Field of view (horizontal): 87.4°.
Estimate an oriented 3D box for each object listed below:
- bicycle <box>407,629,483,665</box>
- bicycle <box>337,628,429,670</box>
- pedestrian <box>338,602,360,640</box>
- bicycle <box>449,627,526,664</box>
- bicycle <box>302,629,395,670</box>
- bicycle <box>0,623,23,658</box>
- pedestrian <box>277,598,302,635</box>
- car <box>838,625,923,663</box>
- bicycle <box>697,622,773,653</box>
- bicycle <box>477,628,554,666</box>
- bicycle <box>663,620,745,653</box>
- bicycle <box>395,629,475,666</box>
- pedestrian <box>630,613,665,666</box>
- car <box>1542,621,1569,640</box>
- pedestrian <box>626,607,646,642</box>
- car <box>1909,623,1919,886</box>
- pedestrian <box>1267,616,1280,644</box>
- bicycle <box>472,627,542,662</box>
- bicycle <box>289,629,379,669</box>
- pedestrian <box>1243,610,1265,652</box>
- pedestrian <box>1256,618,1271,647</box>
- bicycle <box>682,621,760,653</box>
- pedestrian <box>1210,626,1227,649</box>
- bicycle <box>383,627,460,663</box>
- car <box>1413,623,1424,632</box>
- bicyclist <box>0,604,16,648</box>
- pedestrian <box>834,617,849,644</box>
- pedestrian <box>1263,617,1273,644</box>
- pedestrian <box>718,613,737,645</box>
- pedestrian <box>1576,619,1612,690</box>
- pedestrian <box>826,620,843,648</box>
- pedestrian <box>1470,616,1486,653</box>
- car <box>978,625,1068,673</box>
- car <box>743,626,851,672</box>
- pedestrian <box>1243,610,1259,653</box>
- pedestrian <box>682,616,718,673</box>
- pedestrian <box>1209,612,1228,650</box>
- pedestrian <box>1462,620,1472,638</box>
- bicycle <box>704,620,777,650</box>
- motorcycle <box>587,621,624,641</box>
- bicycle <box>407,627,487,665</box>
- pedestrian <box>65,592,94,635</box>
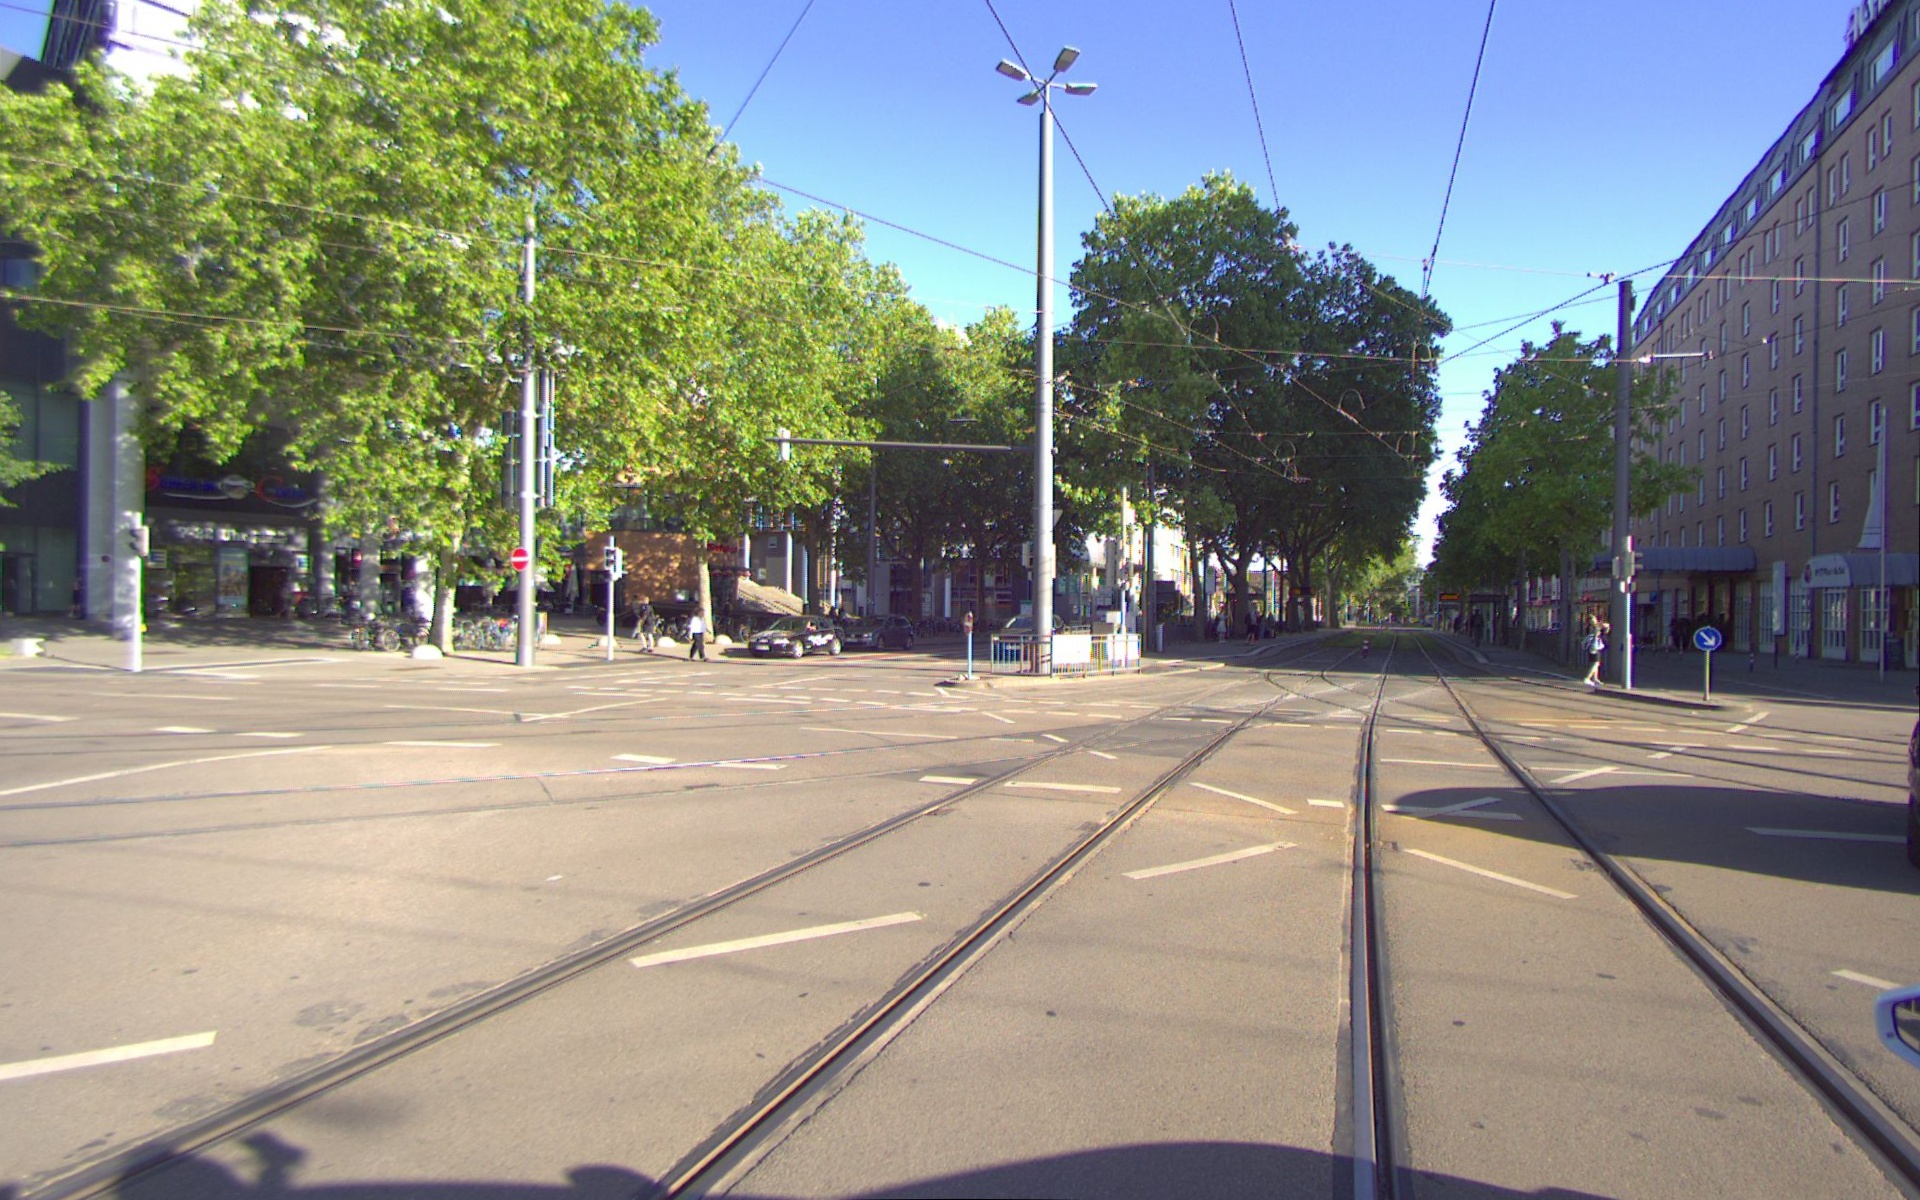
[{"bbox_3d":[-16.950,1.527,33.107,0.587,1.143,2.365,-1,-2,25],"label":"bicycle"},{"bbox_3d":[-16.528,1.388,28.870,0.588,1.143,2.364,-1,-2,26],"label":"bicycle"},{"bbox_3d":[-27.409,0.934,45.069,0.695,1.674,0.696,1,0,-19],"label":"pedestrian"},{"bbox_3d":[-14.932,1.425,31.817,0.587,1.143,2.365,-1,-2,25],"label":"bicycle"},{"bbox_3d":[-17.873,1.421,29.427,0.588,1.143,2.364,-1,-2,26],"label":"bicycle"},{"bbox_3d":[-32.348,1.356,33.714,1.816,1.152,0.693,0,-1,26],"label":"bicycle"},{"bbox_3d":[-30.617,0.762,45.852,0.693,1.674,0.697,1,0,31],"label":"pedestrian"},{"bbox_3d":[-3.131,1.755,40.424,1.640,1.425,3.997,1,-2,25],"label":"car"},{"bbox_3d":[-10.553,1.733,47.159,3.294,1.371,1.036,1,-1,11],"label":"bicycle"},{"bbox_3d":[-13.782,1.440,31.218,0.587,1.143,2.365,-1,-2,25],"label":"bicycle"},{"bbox_3d":[-11.111,1.585,43.655,3.294,1.371,1.036,1,-1,11],"label":"bicycle"},{"bbox_3d":[-16.725,1.493,32.066,0.587,1.143,2.365,-1,-2,25],"label":"bicycle"},{"bbox_3d":[-10.262,1.291,32.968,0.816,1.702,0.715,-1,-2,27],"label":"pedestrian"},{"bbox_3d":[53.540,2.726,90.365,1.645,1.674,3.688,1,-1,24],"label":"car"},{"bbox_3d":[-16.743,1.276,51.966,0.687,1.791,0.703,1,0,37],"label":"pedestrian"},{"bbox_3d":[7.445,1.091,6.502,3.666,1.520,1.656,9,-7,-42],"label":"car"},{"bbox_3d":[18.513,1.777,59.329,0.556,1.594,0.637,1,1,36],"label":"pedestrian"},{"bbox_3d":[-15.337,1.482,34.084,0.587,1.143,2.365,-1,-2,25],"label":"bicycle"},{"bbox_3d":[-18.997,1.463,30.548,0.588,1.143,2.364,-1,-2,26],"label":"bicycle"},{"bbox_3d":[13.169,1.399,44.956,0.737,1.853,0.587,1,0,-35],"label":"pedestrian"},{"bbox_3d":[17.172,1.814,56.786,0.662,1.594,0.483,0,1,-23],"label":"pedestrian"},{"bbox_3d":[-10.848,1.670,45.667,3.294,1.371,1.036,1,-1,11],"label":"bicycle"},{"bbox_3d":[13.295,1.919,51.638,0.583,1.179,0.741,0,0,39],"label":"pedestrian"},{"bbox_3d":[-17.909,1.485,33.486,0.587,1.143,2.365,-1,-2,25],"label":"bicycle"},{"bbox_3d":[80.656,4.774,176.761,1.587,1.522,3.689,1,-1,23],"label":"car"},{"bbox_3d":[-32.335,0.870,33.712,0.740,1.480,0.693,0,-1,26],"label":"bicyclist"},{"bbox_3d":[-7.564,1.962,64.154,0.685,1.674,0.705,-1,0,24],"label":"pedestrian"},{"bbox_3d":[18.038,1.773,58.863,0.493,1.594,0.493,1,1,28],"label":"pedestrian"},{"bbox_3d":[-12.571,1.557,54.341,0.685,1.674,0.705,1,0,24],"label":"pedestrian"},{"bbox_3d":[15.572,1.321,24.685,0.704,1.702,0.829,-2,-2,32],"label":"pedestrian"},{"bbox_3d":[-7.464,2.020,59.650,0.685,1.674,0.705,1,0,24],"label":"pedestrian"},{"bbox_3d":[24.465,1.633,47.419,0.594,1.702,0.486,-1,-2,24],"label":"pedestrian"},{"bbox_3d":[2.113,1.557,32.769,1.639,1.433,3.998,1,-2,24],"label":"car"},{"bbox_3d":[-5.472,1.644,34.287,1.640,1.425,3.997,1,-2,25],"label":"car"},{"bbox_3d":[12.793,1.377,44.188,0.623,1.853,0.745,1,0,19],"label":"pedestrian"},{"bbox_3d":[-7.971,1.365,30.797,0.817,1.702,0.714,-2,-2,33],"label":"pedestrian"},{"bbox_3d":[12.373,1.484,48.093,0.583,1.824,0.741,1,0,39],"label":"pedestrian"},{"bbox_3d":[41.881,2.373,82.991,0.710,1.464,0.627,1,0,20],"label":"pedestrian"},{"bbox_3d":[-10.658,1.693,48.753,3.294,1.371,1.036,1,-1,11],"label":"bicycle"},{"bbox_3d":[-20.092,1.730,56.924,2.304,1.072,0.829,0,-1,35],"label":"motorcycle"},{"bbox_3d":[-16.167,1.428,31.717,0.587,1.143,2.365,-1,-2,25],"label":"bicycle"},{"bbox_3d":[-35.546,0.545,40.554,0.724,1.728,0.694,1,-1,-27],"label":"pedestrian"}]
